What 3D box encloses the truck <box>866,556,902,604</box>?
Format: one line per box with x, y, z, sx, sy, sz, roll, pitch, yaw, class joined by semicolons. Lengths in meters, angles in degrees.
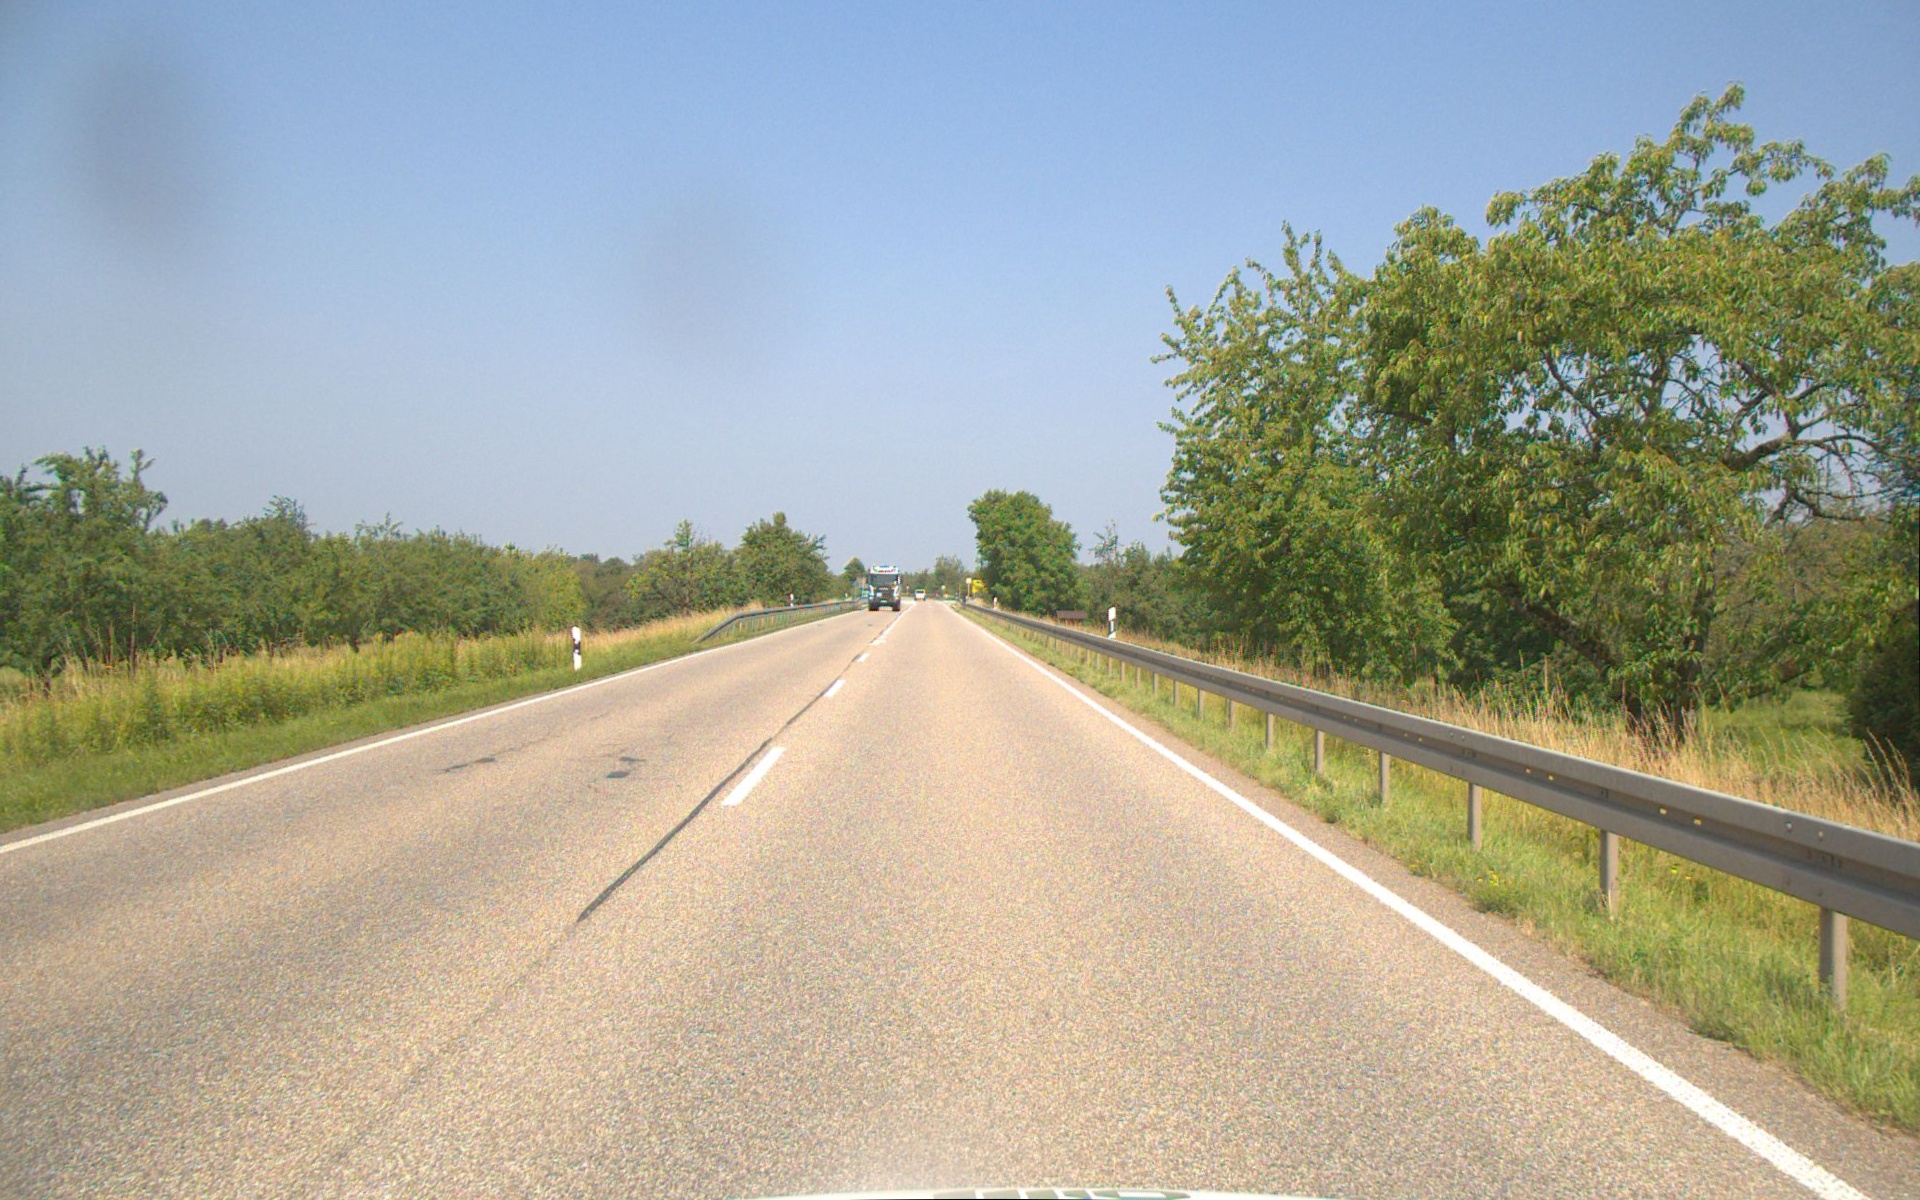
-6.199;-1.555;135.655;2.673;3.736;9.380;1;0;-2;truck
